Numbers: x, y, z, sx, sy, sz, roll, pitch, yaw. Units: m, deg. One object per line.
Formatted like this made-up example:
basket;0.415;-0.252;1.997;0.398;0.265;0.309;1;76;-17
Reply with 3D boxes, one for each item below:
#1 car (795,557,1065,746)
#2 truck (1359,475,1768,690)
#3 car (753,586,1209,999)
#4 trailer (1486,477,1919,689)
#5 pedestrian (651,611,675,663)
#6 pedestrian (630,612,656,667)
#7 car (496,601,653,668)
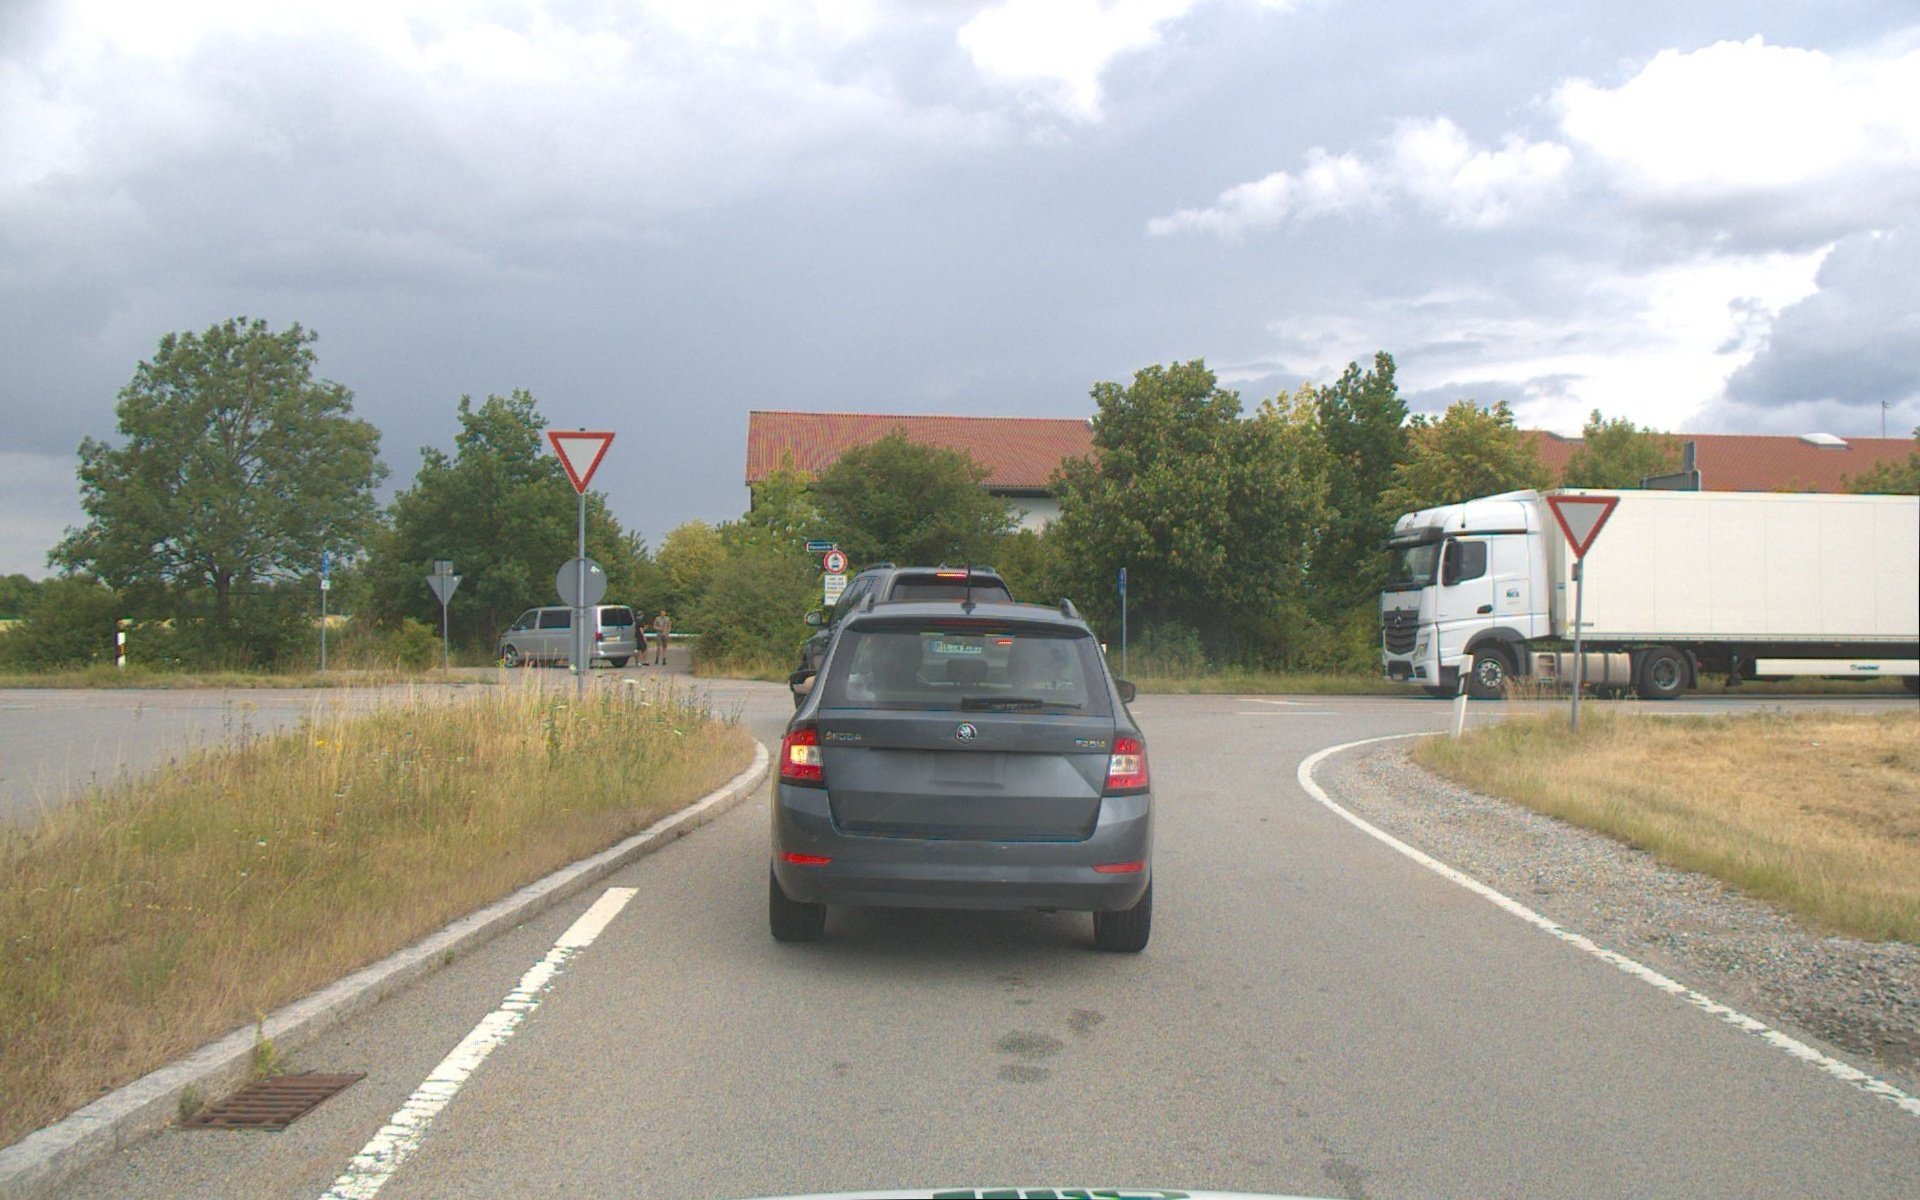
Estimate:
car;-0.493;0.534;18.255;1.960;1.806;4.625;1;-1;-15
truck;12.072;-0.278;33.462;7.146;4.085;3.123;0;-2;-8
car;-0.006;0.700;7.936;1.643;1.488;3.705;1;0;-3
trailer;18.029;-0.254;34.253;13.580;4.085;3.123;0;-2;-8
pedestrian;-9.959;1.239;55.462;0.580;1.712;0.557;-1;1;-42
pedestrian;-10.292;1.263;53.755;0.519;1.756;0.640;0;0;31
car;-12.634;1.076;54.121;4.811;2.049;2.336;0;1;33
